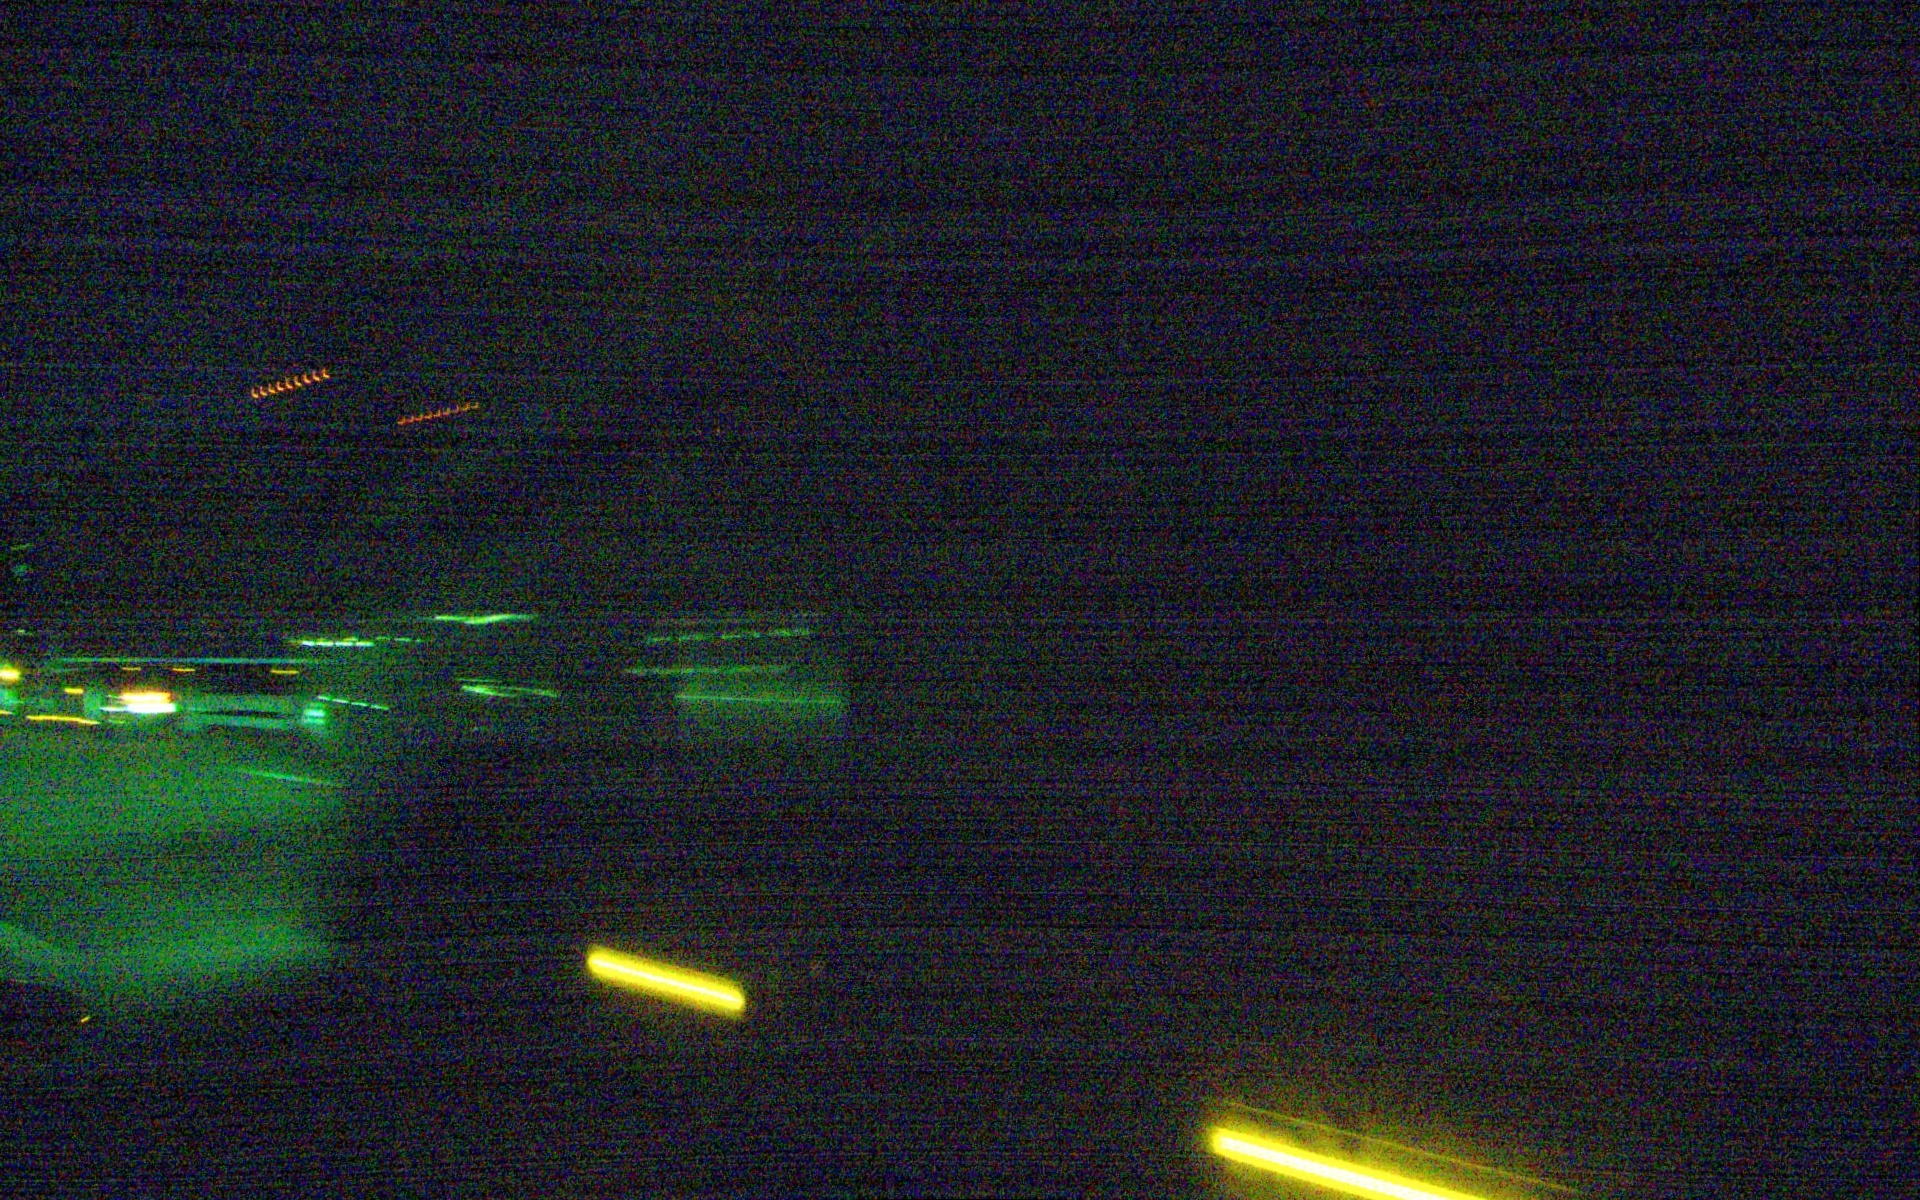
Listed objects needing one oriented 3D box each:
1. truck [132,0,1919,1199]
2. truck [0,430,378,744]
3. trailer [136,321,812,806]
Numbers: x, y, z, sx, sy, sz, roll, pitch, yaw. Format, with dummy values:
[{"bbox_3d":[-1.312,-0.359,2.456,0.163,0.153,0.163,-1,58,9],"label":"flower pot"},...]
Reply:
[{"bbox_3d":[-0.246,-0.526,3.953,6.626,4.259,2.658,-1,-2,32],"label":"truck"},{"bbox_3d":[-12.830,-0.067,16.266,7.564,4.124,2.587,-1,-2,32],"label":"truck"},{"bbox_3d":[-6.451,-0.189,12.253,9.865,4.124,2.587,-1,-2,32],"label":"trailer"}]
